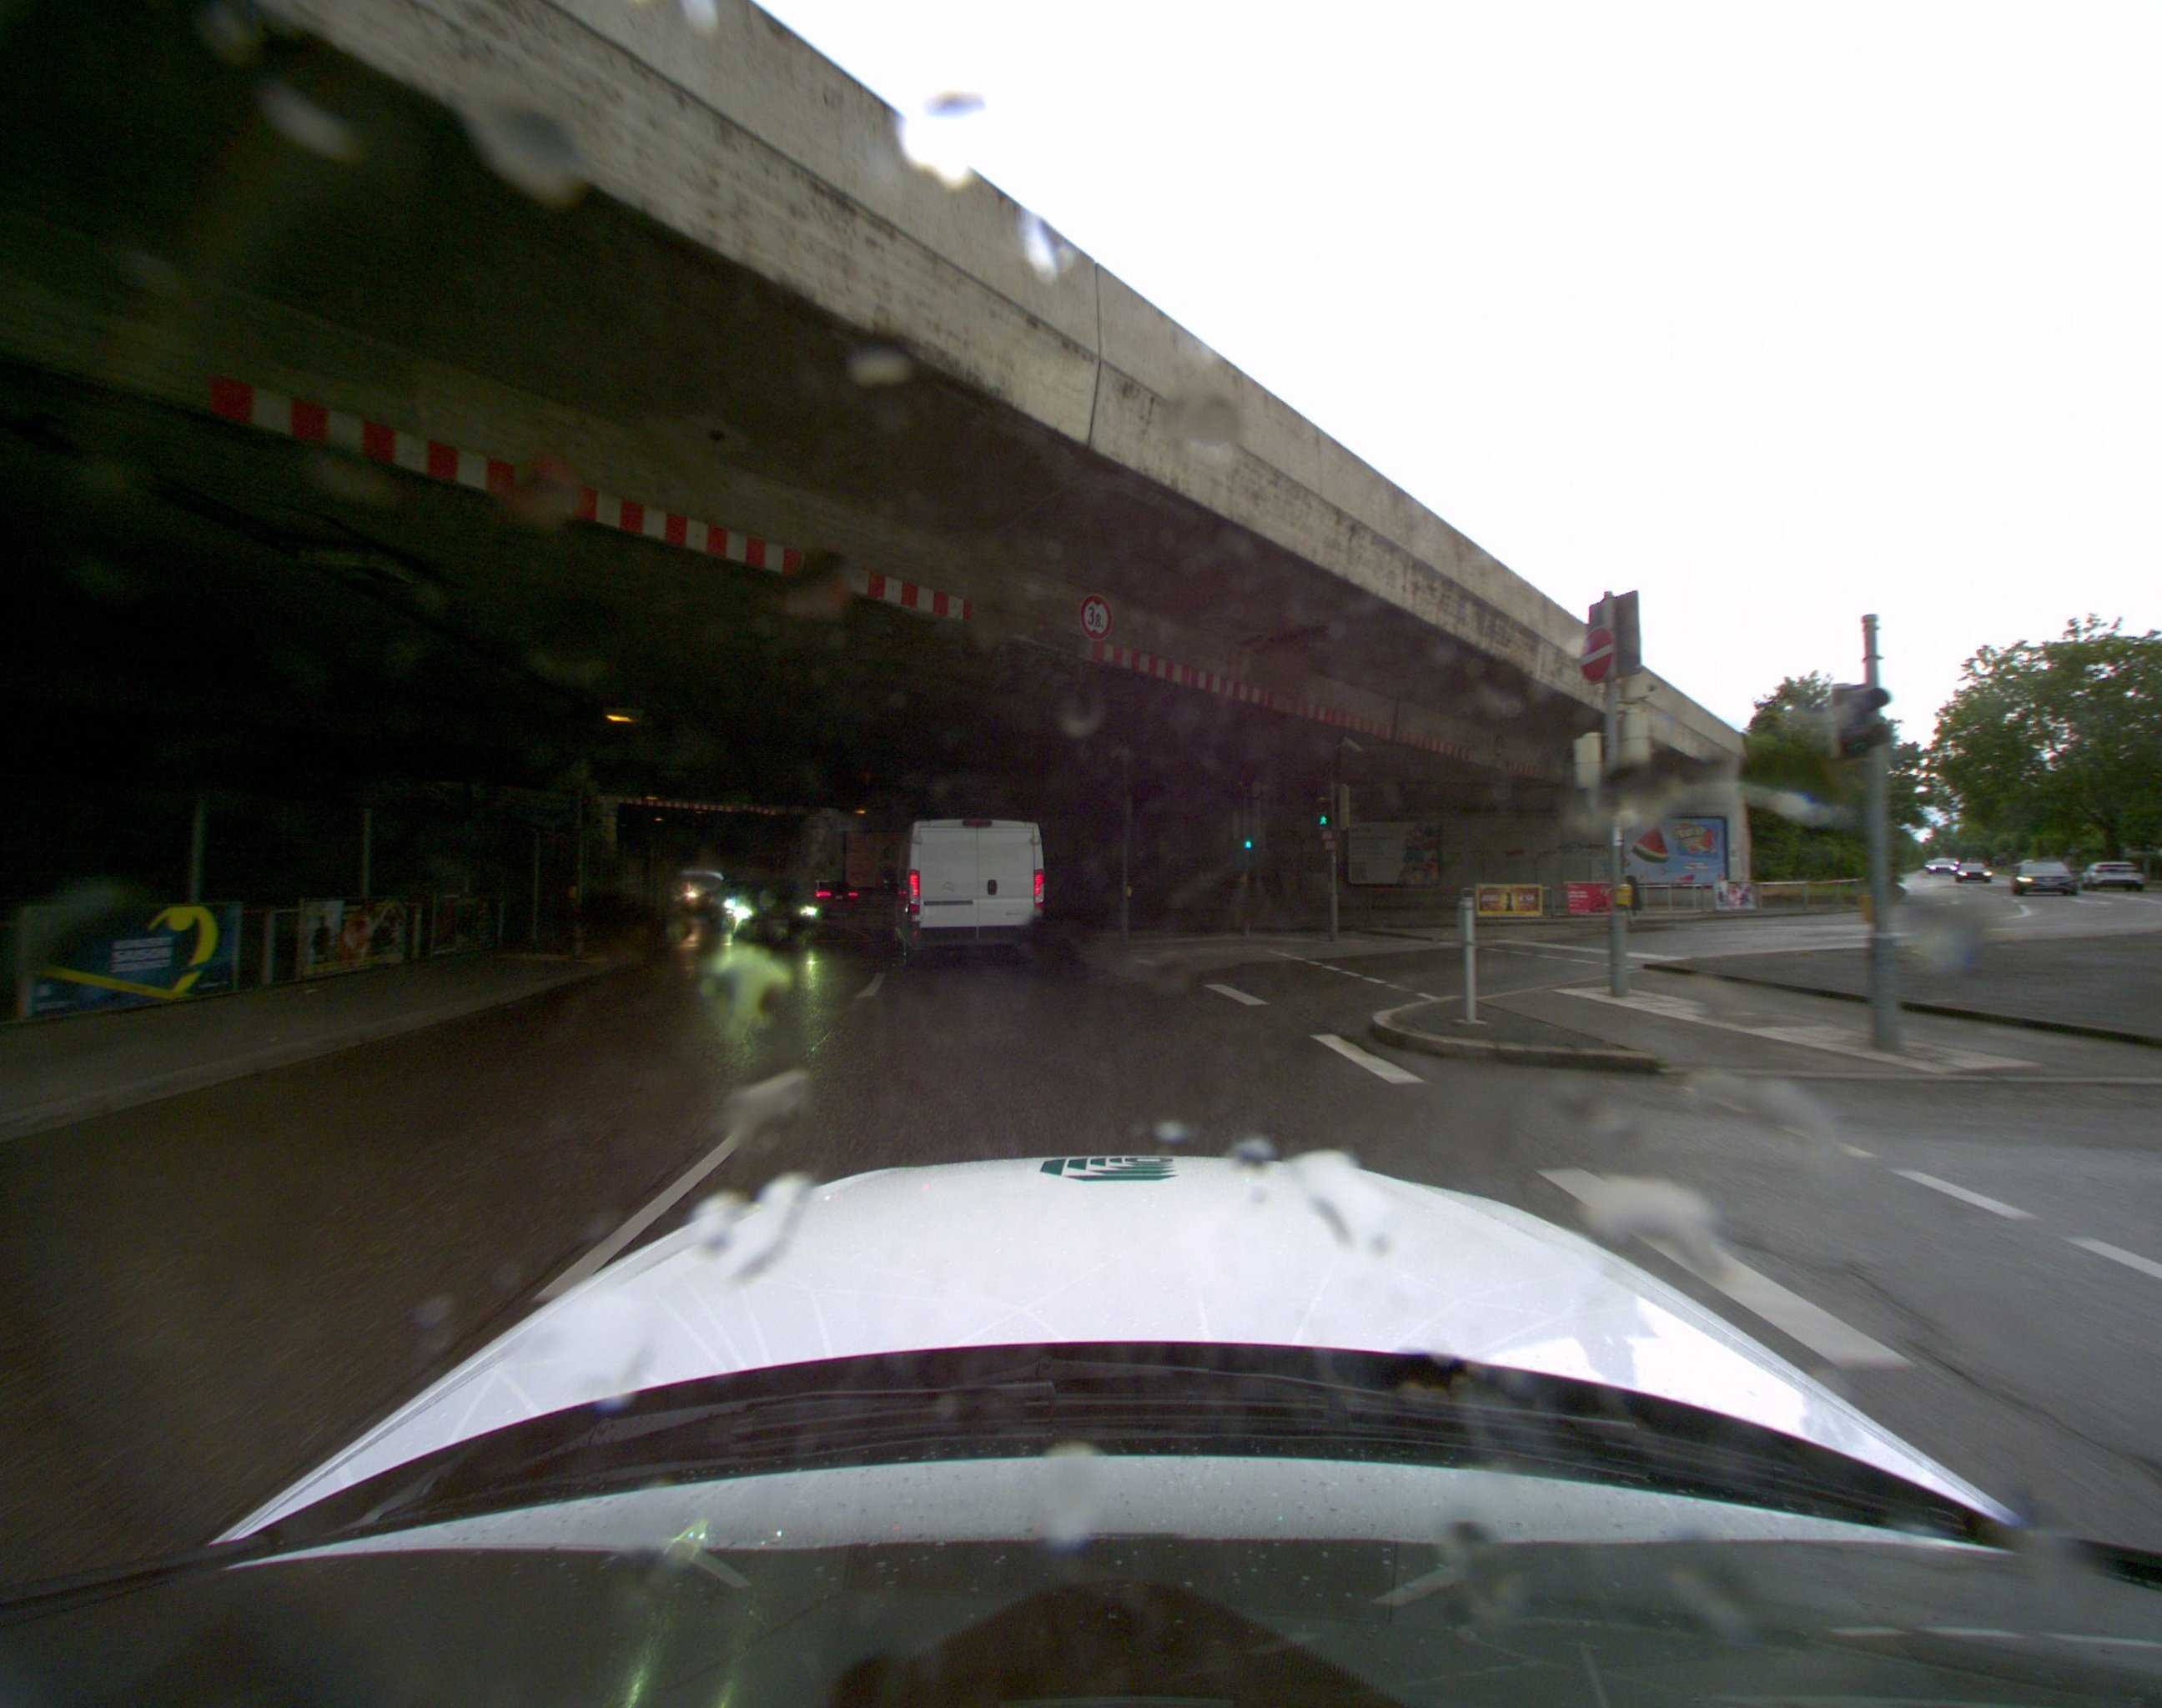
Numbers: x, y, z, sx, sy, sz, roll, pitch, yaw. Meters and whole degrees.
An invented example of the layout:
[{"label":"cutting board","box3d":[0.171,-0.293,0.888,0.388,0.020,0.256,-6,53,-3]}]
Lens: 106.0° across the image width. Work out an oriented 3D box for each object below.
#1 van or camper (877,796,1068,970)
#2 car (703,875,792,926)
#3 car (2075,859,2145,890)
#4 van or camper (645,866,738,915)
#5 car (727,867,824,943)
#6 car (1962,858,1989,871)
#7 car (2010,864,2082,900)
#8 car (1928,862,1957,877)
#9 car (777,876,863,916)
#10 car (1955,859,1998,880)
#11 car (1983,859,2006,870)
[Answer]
[{"label":"van or camper","box3d":[-2.099,0.461,14.007,2.703,2.417,4.878,0,-2,-15]},{"label":"car","box3d":[-10.493,1.400,25.480,2.006,1.465,4.065,1,-2,-31]},{"label":"car","box3d":[55.498,1.075,43.981,1.858,1.530,4.023,0,0,45]},{"label":"van or camper","box3d":[-16.009,1.463,33.353,2.011,1.868,5.076,1,-3,-43]},{"label":"car","box3d":[-7.623,1.140,20.117,2.002,1.530,4.466,1,0,-23]},{"label":"car","box3d":[110.992,1.296,101.108,1.858,1.530,4.024,0,0,42]},{"label":"car","box3d":[44.400,1.281,37.446,4.252,1.580,1.750,1,-4,-36]},{"label":"car","box3d":[91.093,1.601,86.141,1.858,1.530,4.024,0,0,42]},{"label":"car","box3d":[-10.015,1.547,31.093,1.850,1.438,4.056,1,-2,-37]},{"label":"car","box3d":[70.443,1.185,64.115,1.858,1.530,4.024,0,0,42]},{"label":"car","box3d":[133.662,1.568,119.177,1.858,1.530,4.024,0,0,42]}]
